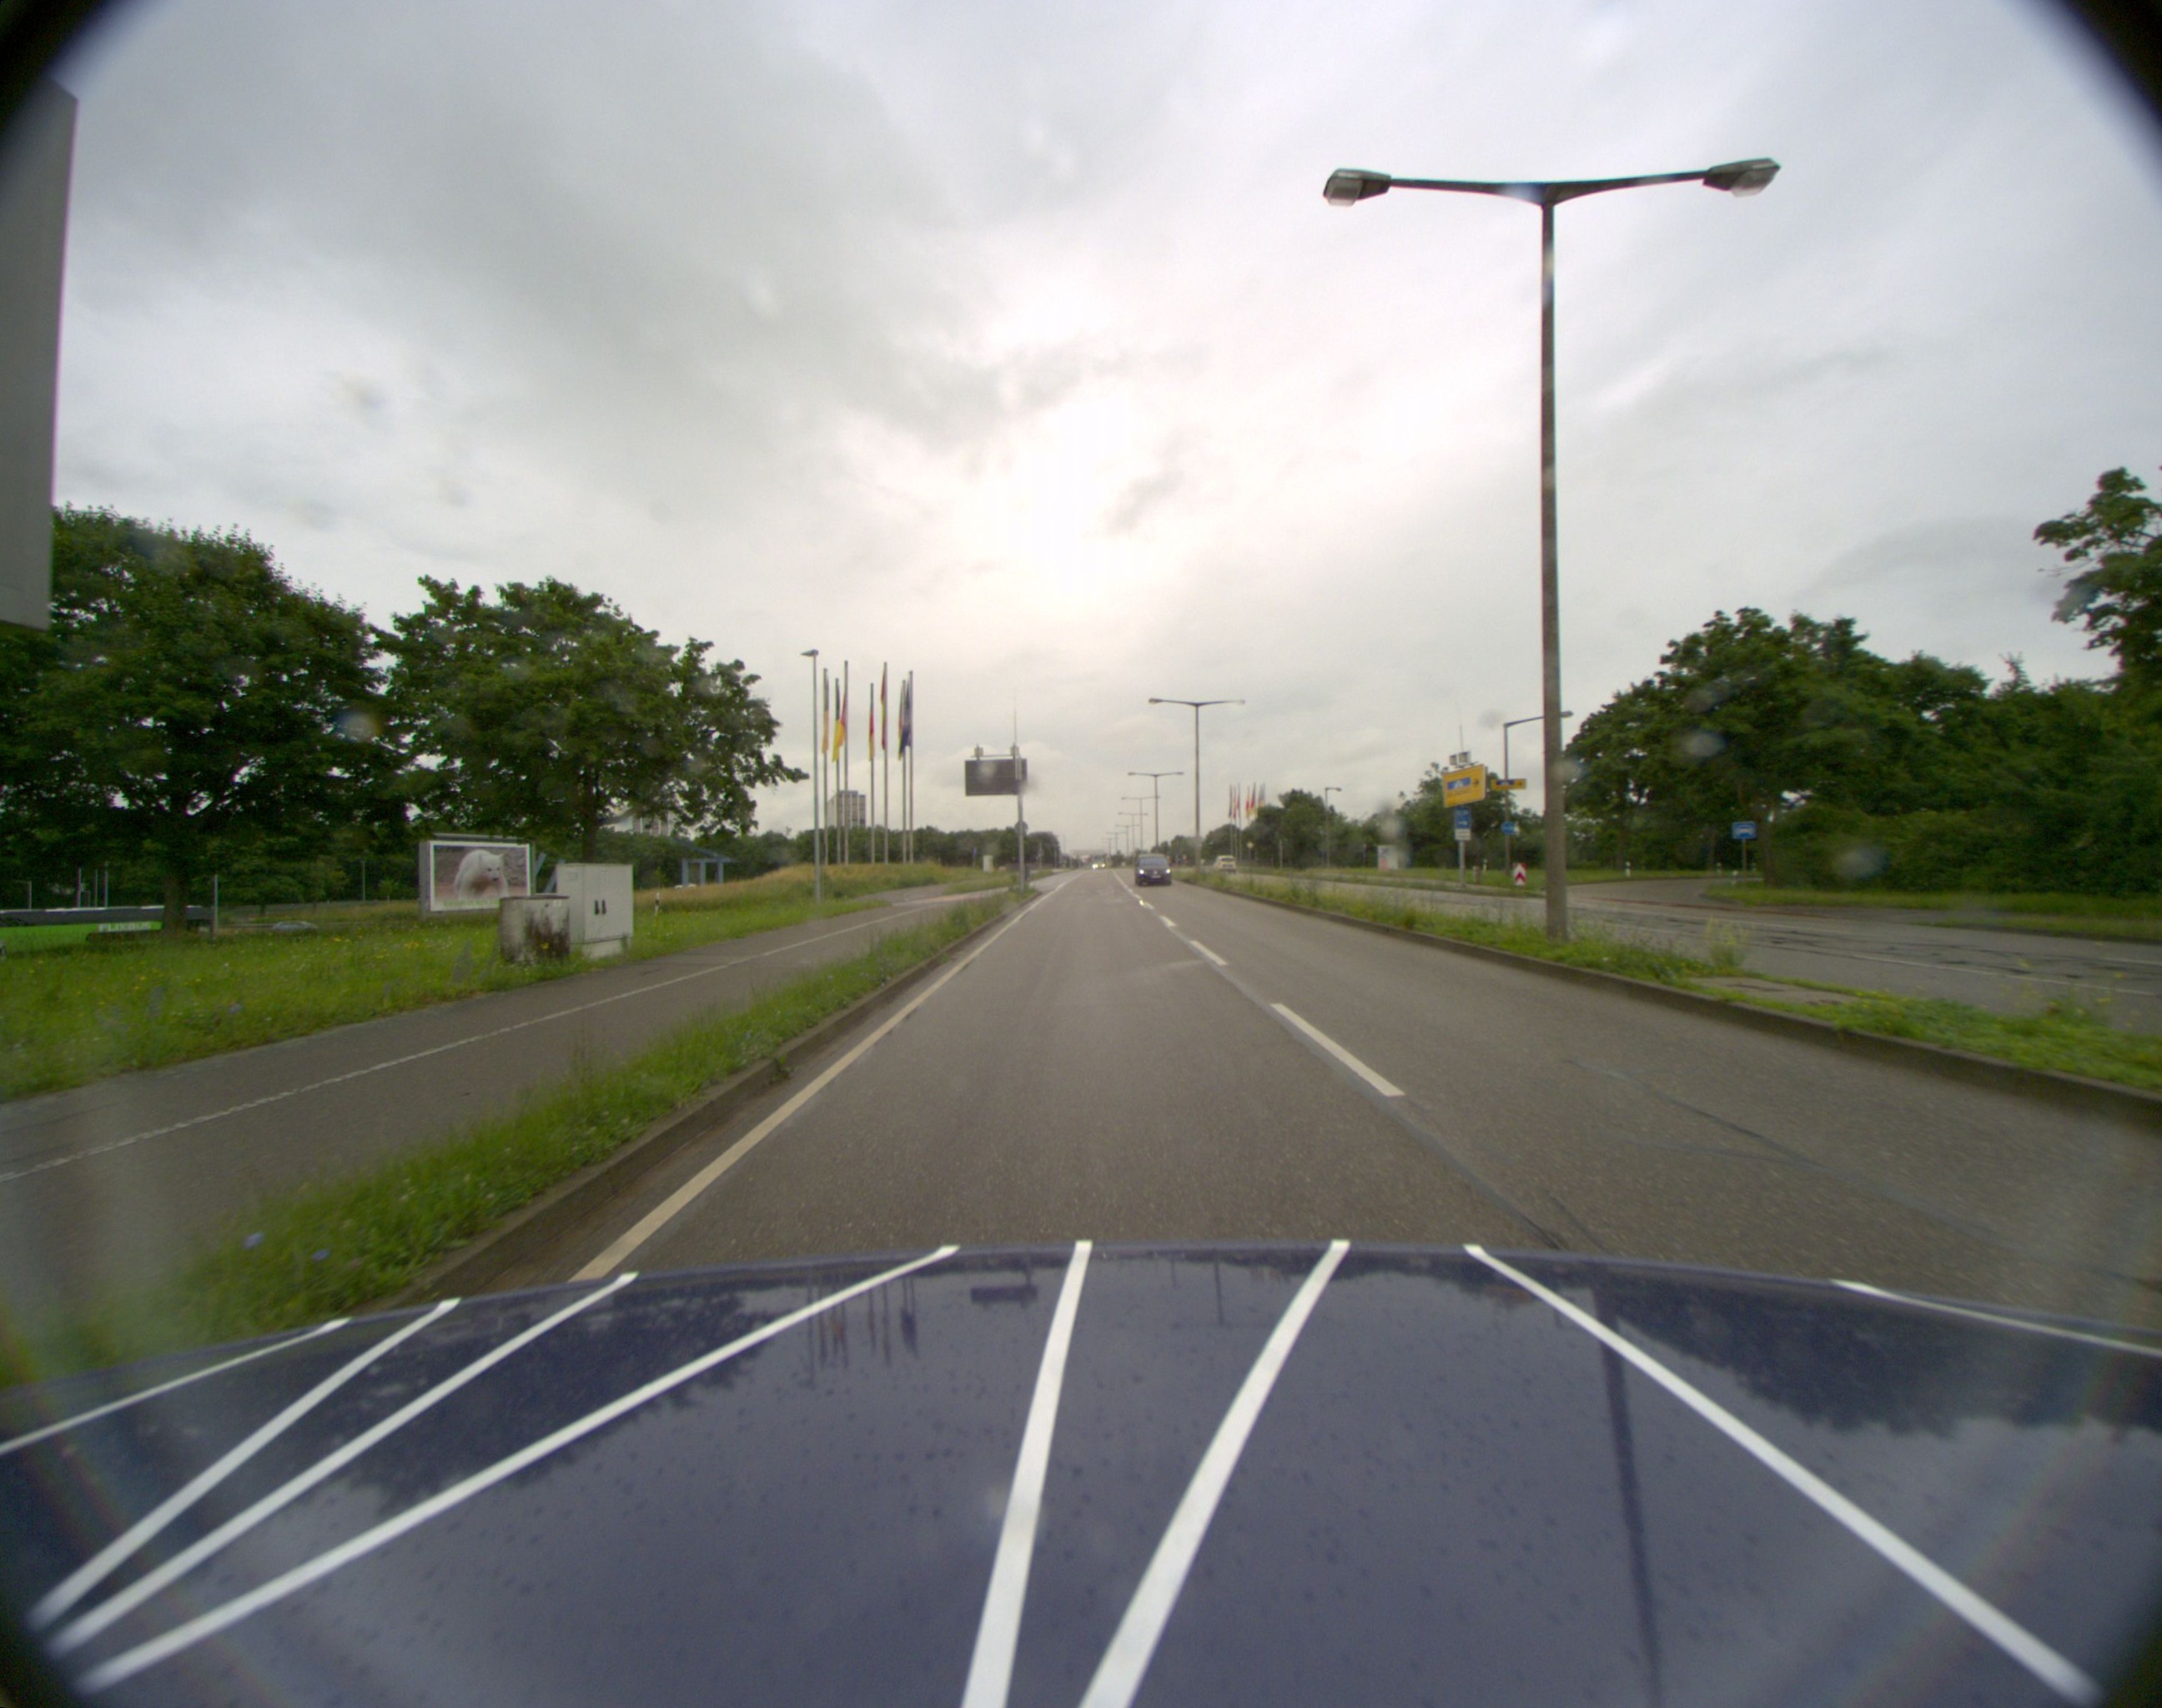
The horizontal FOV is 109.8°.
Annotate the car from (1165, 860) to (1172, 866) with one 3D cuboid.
[{"bbox_3d":[23.449,2.422,204.229,1.664,1.440,3.557,1,0,2],"label":"car"}]

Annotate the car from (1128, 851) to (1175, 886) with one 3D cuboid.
[{"bbox_3d":[3.861,0.822,42.277,1.850,1.740,4.817,-4,-1,-2],"label":"car"}]

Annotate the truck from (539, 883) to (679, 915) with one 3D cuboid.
[{"bbox_3d":[-65.151,6.134,105.486,16.279,3.370,2.745,-2,0,-20],"label":"truck"}]

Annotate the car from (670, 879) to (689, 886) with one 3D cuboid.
[{"bbox_3d":[-99.950,7.111,189.228,4.007,1.622,1.995,-2,0,-35],"label":"car"}]

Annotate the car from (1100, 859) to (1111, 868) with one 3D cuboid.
[{"bbox_3d":[4.603,1.842,144.461,1.999,1.700,4.000,-2,0,0],"label":"car"}]

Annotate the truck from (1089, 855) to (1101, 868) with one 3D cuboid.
[{"bbox_3d":[3.736,1.950,203.040,2.860,3.196,8.098,-2,0,0],"label":"truck"}]

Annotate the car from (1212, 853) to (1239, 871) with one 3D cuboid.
[{"bbox_3d":[13.871,0.751,73.038,1.711,1.620,4.492,1,0,1],"label":"car"}]

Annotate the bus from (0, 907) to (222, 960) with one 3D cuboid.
[{"bbox_3d":[-77.756,6.157,59.646,2.760,2.664,14.596,-2,1,6],"label":"bus"}]
